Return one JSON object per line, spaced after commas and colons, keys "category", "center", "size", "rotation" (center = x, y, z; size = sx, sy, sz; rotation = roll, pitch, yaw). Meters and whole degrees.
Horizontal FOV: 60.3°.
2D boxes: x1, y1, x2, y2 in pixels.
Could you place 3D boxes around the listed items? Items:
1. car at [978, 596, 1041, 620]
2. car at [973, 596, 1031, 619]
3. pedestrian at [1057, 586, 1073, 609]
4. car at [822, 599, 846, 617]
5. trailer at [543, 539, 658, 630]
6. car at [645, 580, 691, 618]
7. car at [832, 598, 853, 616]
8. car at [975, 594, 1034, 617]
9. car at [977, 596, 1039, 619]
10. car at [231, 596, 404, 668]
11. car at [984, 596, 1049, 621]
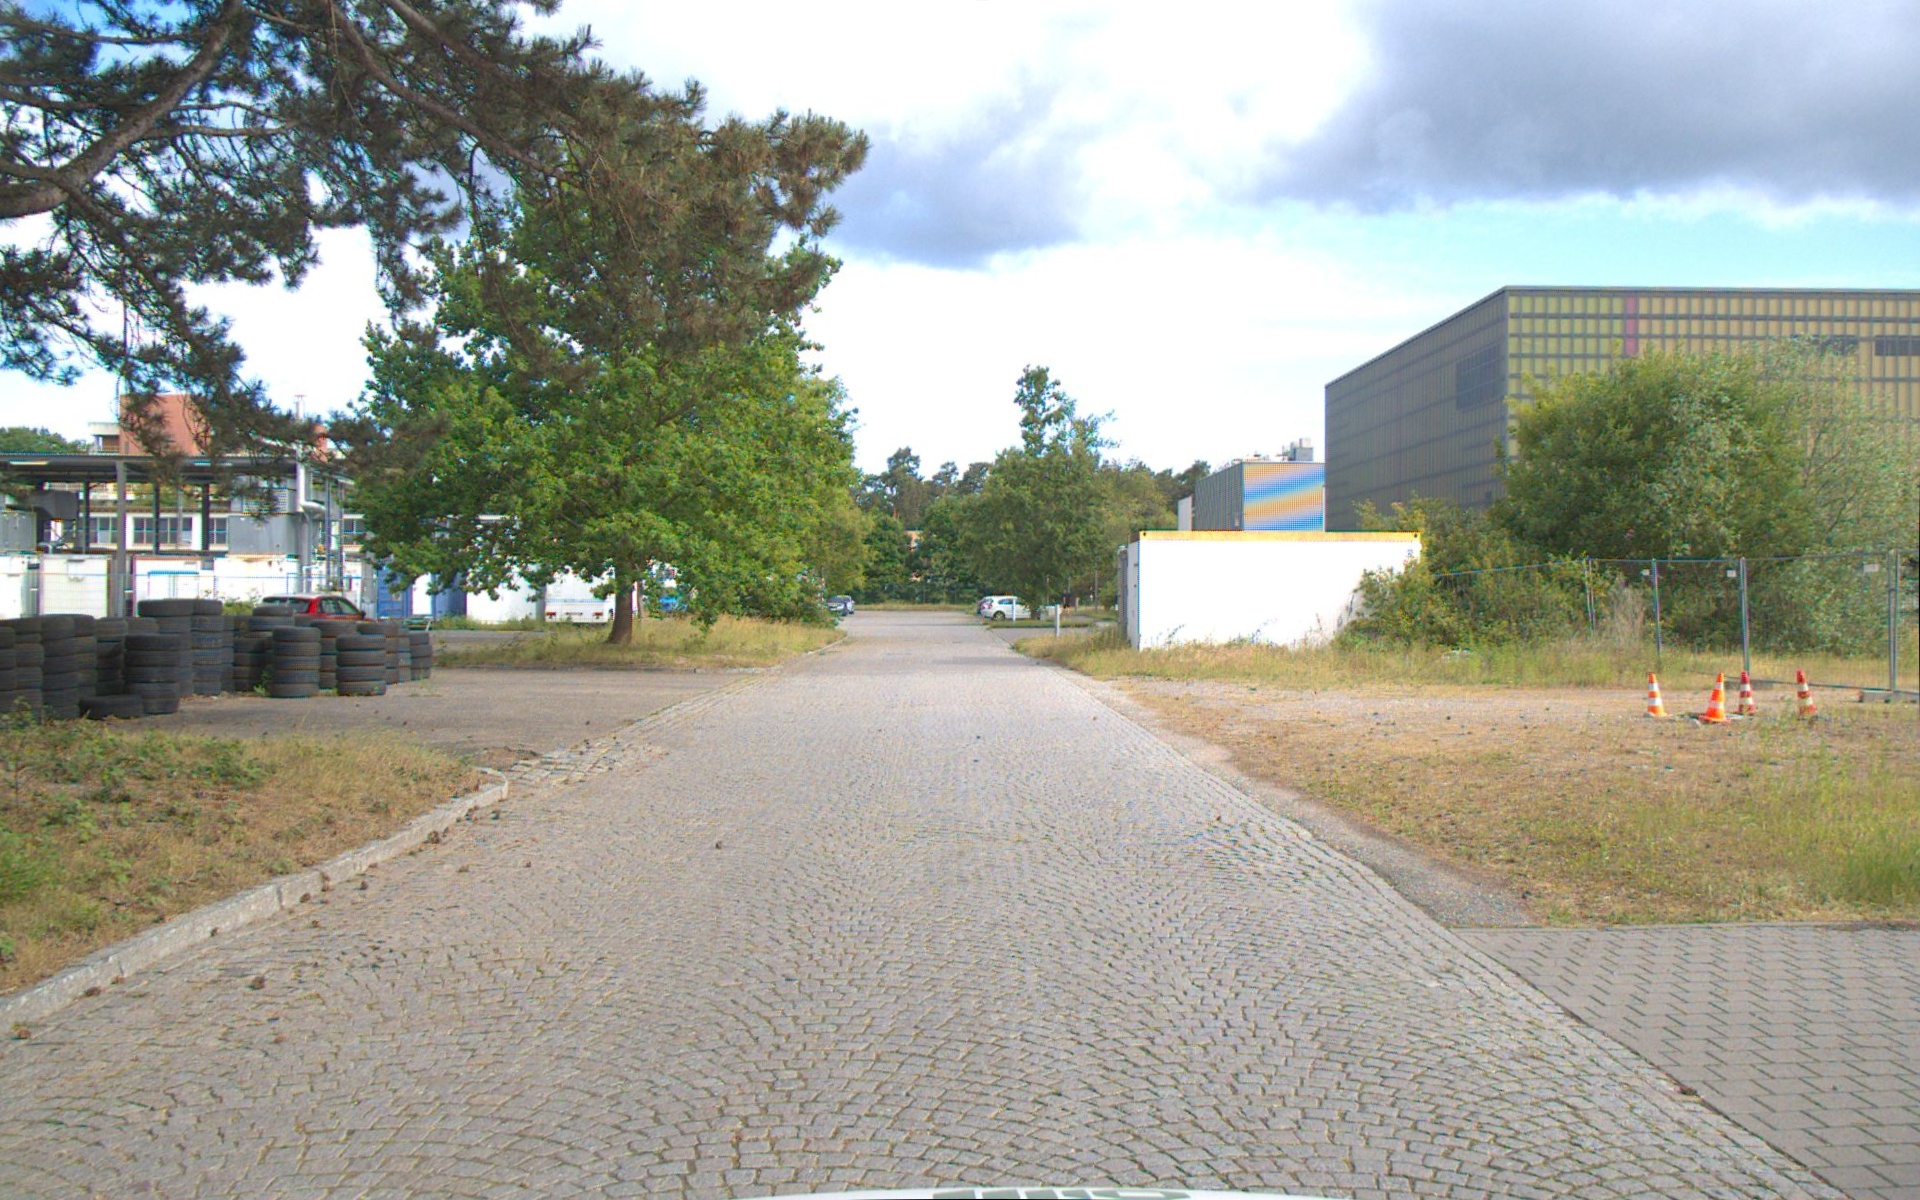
{"category": "car", "center": [3.098, 0.469, 103.783], "size": [3.906, 1.481, 1.697], "rotation": [0, 0, -1]}
{"category": "car", "center": [2.825, 0.492, 111.721], "size": [3.906, 1.481, 1.769], "rotation": [0, 0, -1]}
{"category": "pedestrian", "center": [7.127, -0.169, 112.335], "size": [0.922, 1.596, 0.970], "rotation": [0, 0, -7]}
{"category": "car", "center": [-9.530, 0.595, 125.293], "size": [1.714, 1.388, 3.997], "rotation": [0, 0, -3]}
{"category": "trailer", "center": [-15.894, -0.648, 73.972], "size": [2.602, 3.770, 10.723], "rotation": [0, 0, 1]}
{"category": "car", "center": [-19.975, -0.079, 113.462], "size": [1.952, 2.567, 5.619], "rotation": [0, 0, 2]}
{"category": "car", "center": [-9.613, 0.587, 135.523], "size": [1.714, 1.480, 3.997], "rotation": [0, 0, -3]}
{"category": "car", "center": [3.082, 0.388, 114.942], "size": [3.909, 1.560, 1.998], "rotation": [0, 0, -5]}
{"category": "car", "center": [3.096, 0.461, 106.823], "size": [3.906, 1.481, 1.769], "rotation": [0, 0, -1]}
{"category": "car", "center": [-13.742, 0.652, 35.641], "size": [1.785, 1.457, 4.221], "rotation": [0, 0, 5]}
{"category": "car", "center": [3.430, 0.524, 101.621], "size": [3.906, 1.481, 1.999], "rotation": [1, -1, -1]}
